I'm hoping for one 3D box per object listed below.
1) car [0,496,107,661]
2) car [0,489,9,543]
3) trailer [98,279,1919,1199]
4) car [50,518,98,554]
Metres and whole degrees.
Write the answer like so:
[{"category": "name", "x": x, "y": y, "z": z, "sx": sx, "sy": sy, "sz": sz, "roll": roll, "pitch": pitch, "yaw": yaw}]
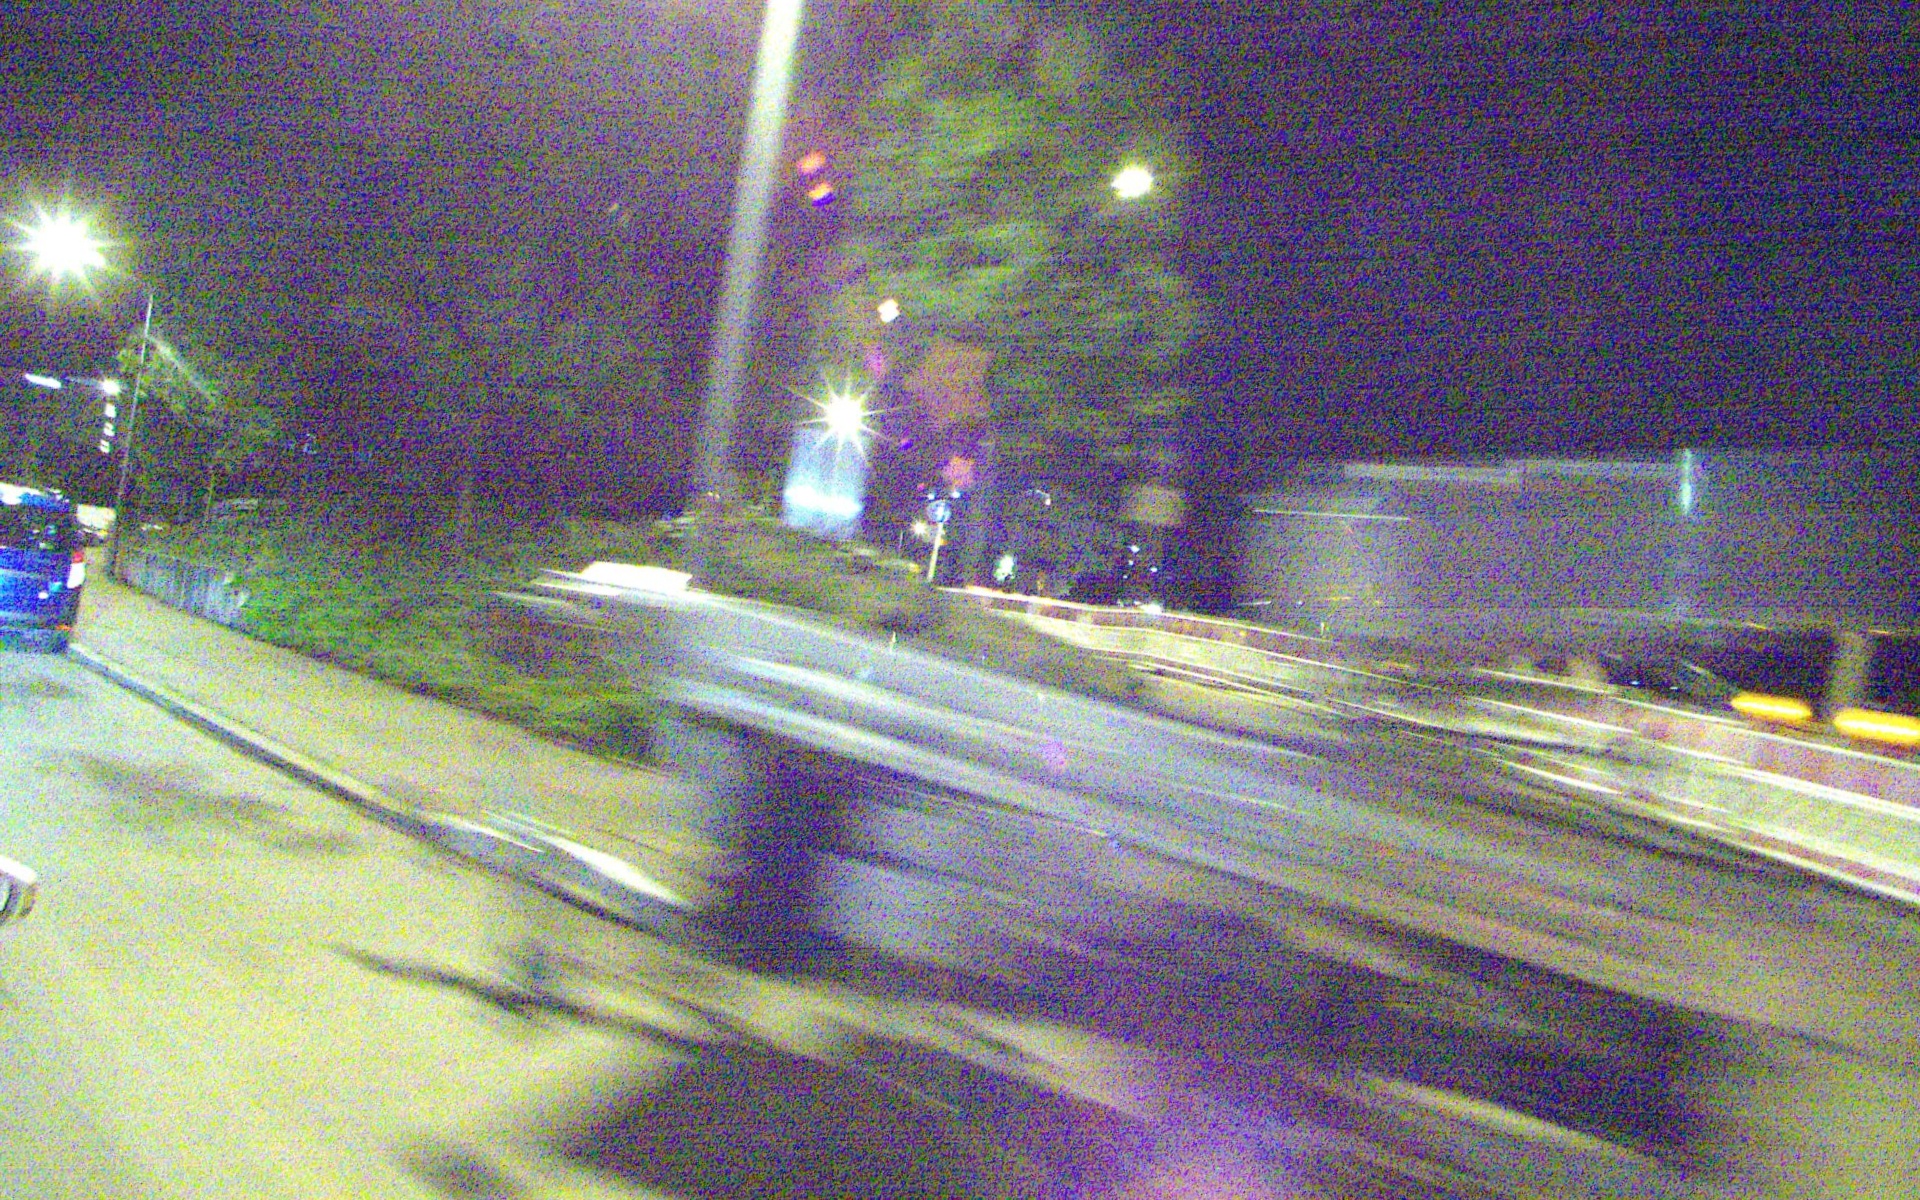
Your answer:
[{"category": "car", "x": -11.778, "y": -0.410, "z": 11.849, "sx": 3.941, "sy": 1.679, "sz": 1.722, "roll": 6, "pitch": -4, "yaw": 38}, {"category": "car", "x": -17.442, "y": -1.107, "z": 16.649, "sx": 3.941, "sy": 1.841, "sz": 1.722, "roll": 6, "pitch": -4, "yaw": 38}, {"category": "trailer", "x": 0.094, "y": 0.423, "z": 3.436, "sx": 5.121, "sy": 2.187, "sz": 1.565, "roll": 7, "pitch": 0, "yaw": 10}, {"category": "car", "x": -54.631, "y": -3.895, "z": 62.069, "sx": 1.713, "sy": 1.840, "sz": 3.961, "roll": 10, "pitch": -4, "yaw": -37}]
